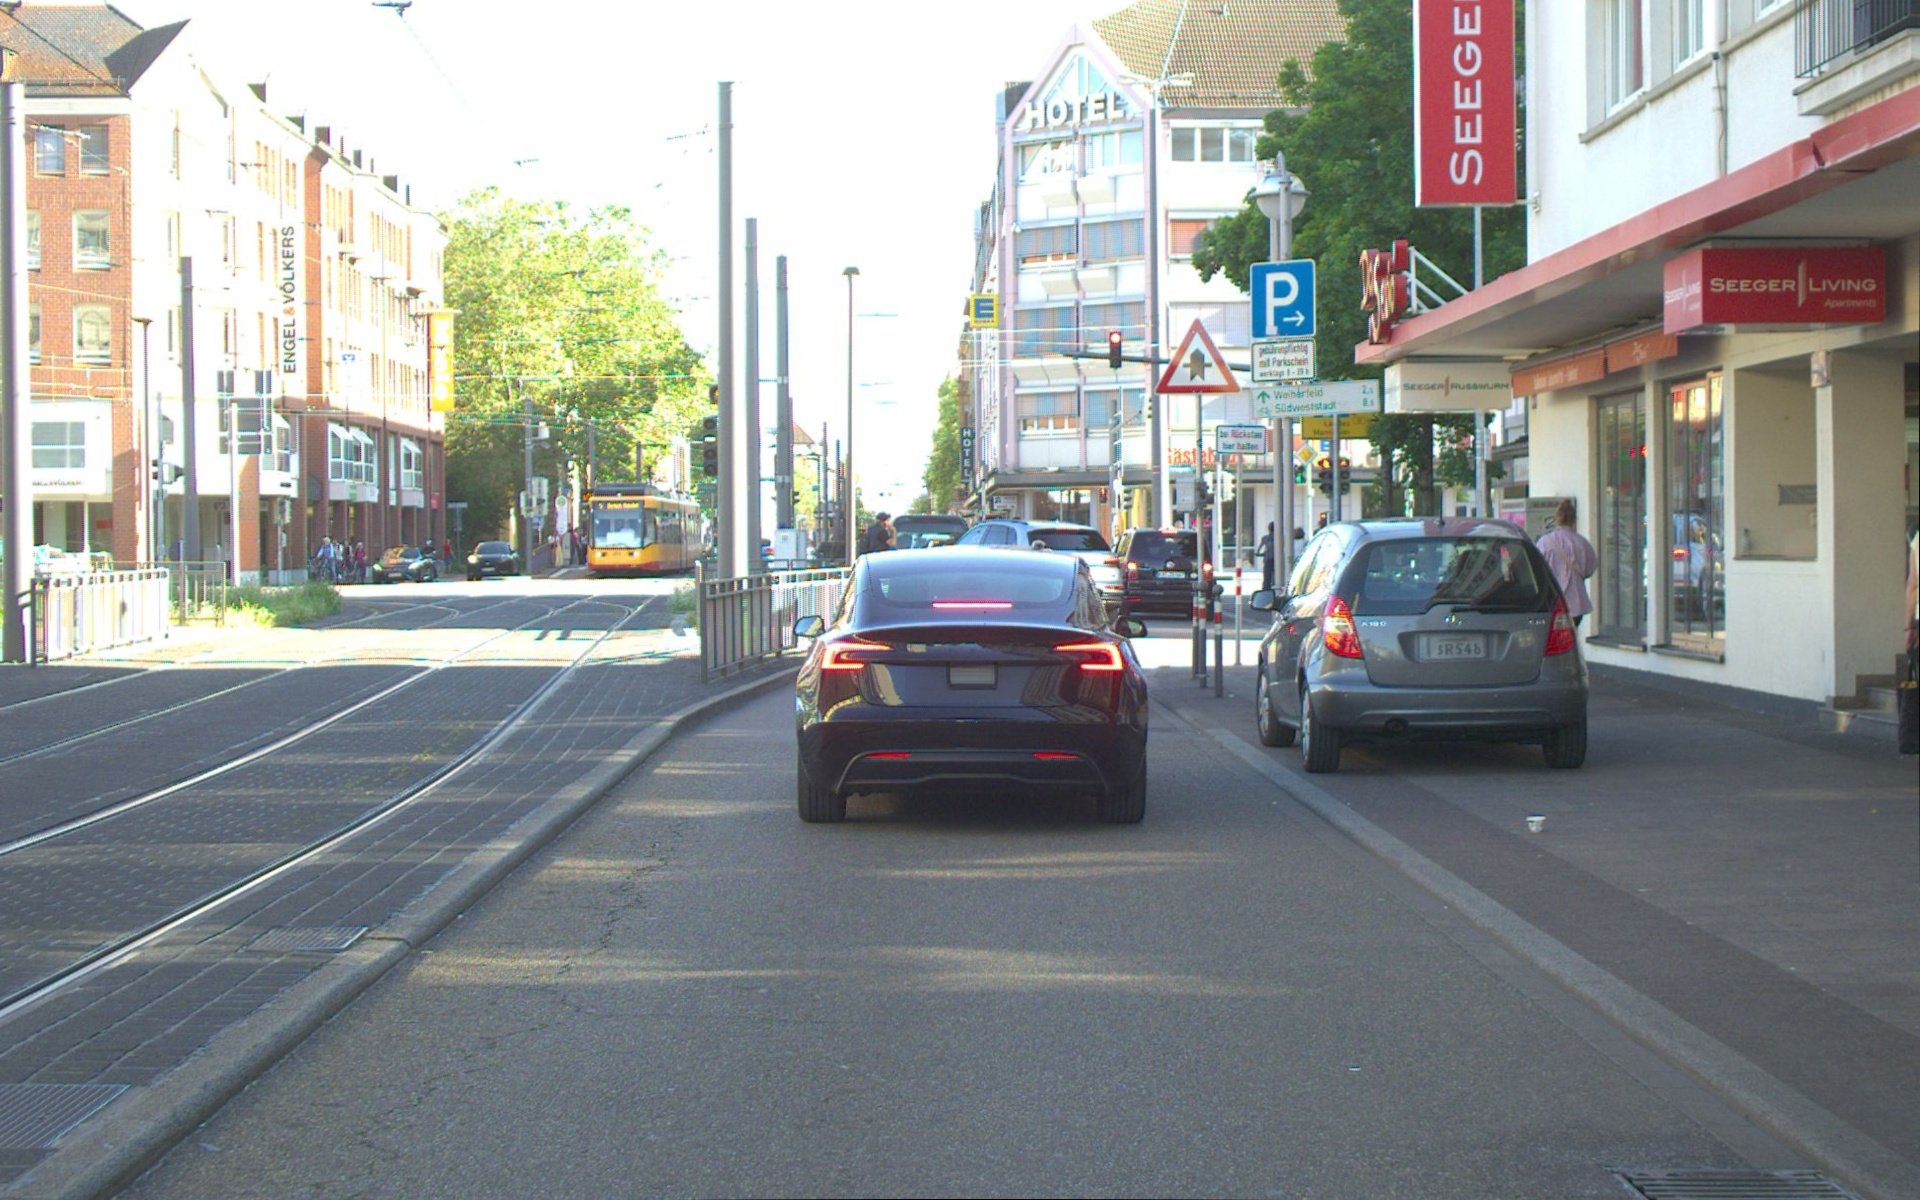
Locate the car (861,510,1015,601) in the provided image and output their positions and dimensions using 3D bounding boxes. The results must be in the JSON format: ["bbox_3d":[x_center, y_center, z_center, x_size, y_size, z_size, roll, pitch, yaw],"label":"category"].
[{"bbox_3d":[-0.443,-0.809,61.589,1.824,1.514,4.219,2,1,-13],"label":"car"}]

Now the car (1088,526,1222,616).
[{"bbox_3d":[3.472,-0.530,61.873,1.824,1.514,3.650,2,1,-6],"label":"car"}]

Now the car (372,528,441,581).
[{"bbox_3d":[-21.355,-1.773,132.739,1.993,2.007,4.000,0,1,0],"label":"car"}]

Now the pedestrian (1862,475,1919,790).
[{"bbox_3d":[5.600,0.175,19.702,0.804,1.768,0.932,0,1,14],"label":"pedestrian"}]

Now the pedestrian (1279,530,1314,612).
[{"bbox_3d":[6.630,-0.579,67.768,0.629,1.608,0.643,1,1,3],"label":"pedestrian"}]

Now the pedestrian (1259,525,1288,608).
[{"bbox_3d":[6.376,-0.689,69.959,0.562,1.677,0.750,1,1,5],"label":"pedestrian"}]

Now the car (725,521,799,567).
[{"bbox_3d":[-6.441,-1.809,112.276,1.994,1.415,4.000,2,1,3],"label":"car"}]

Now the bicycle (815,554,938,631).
[{"bbox_3d":[-1.251,-0.112,51.135,1.727,1.084,0.678,2,0,-8],"label":"bicycle"}]

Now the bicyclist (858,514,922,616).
[{"bbox_3d":[-1.046,-0.523,51.228,0.836,1.494,0.560,2,0,-8],"label":"bicyclist"}]

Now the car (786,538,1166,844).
[{"bbox_3d":[0.028,0.430,18.891,1.849,1.479,3.787,1,1,-2],"label":"car"}]

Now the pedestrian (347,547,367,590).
[{"bbox_3d":[-23.601,-1.245,134.621,0.711,1.661,0.564,2,0,-9],"label":"pedestrian"}]

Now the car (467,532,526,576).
[{"bbox_3d":[-18.308,-1.812,135.816,1.751,1.645,4.000,2,1,0],"label":"car"}]

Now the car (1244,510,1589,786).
[{"bbox_3d":[2.912,0.249,22.605,1.745,1.626,3.649,-1,1,0],"label":"car"}]

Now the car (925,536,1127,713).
[{"bbox_3d":[0.555,0.168,30.740,1.653,1.413,4.000,1,2,0],"label":"car"}]

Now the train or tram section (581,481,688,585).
[{"bbox_3d":[-12.326,-2.512,131.322,2.674,3.703,14.193,2,1,0],"label":"train or tram section"}]

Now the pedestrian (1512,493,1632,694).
[{"bbox_3d":[5.247,-0.055,29.463,0.818,1.677,0.714,2,0,23],"label":"pedestrian"}]

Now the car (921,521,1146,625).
[{"bbox_3d":[1.103,-0.453,53.818,1.783,1.514,4.219,2,1,-25],"label":"car"}]

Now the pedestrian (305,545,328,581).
[{"bbox_3d":[-23.926,-1.379,127.800,0.711,1.337,0.666,0,1,0],"label":"pedestrian"}]
